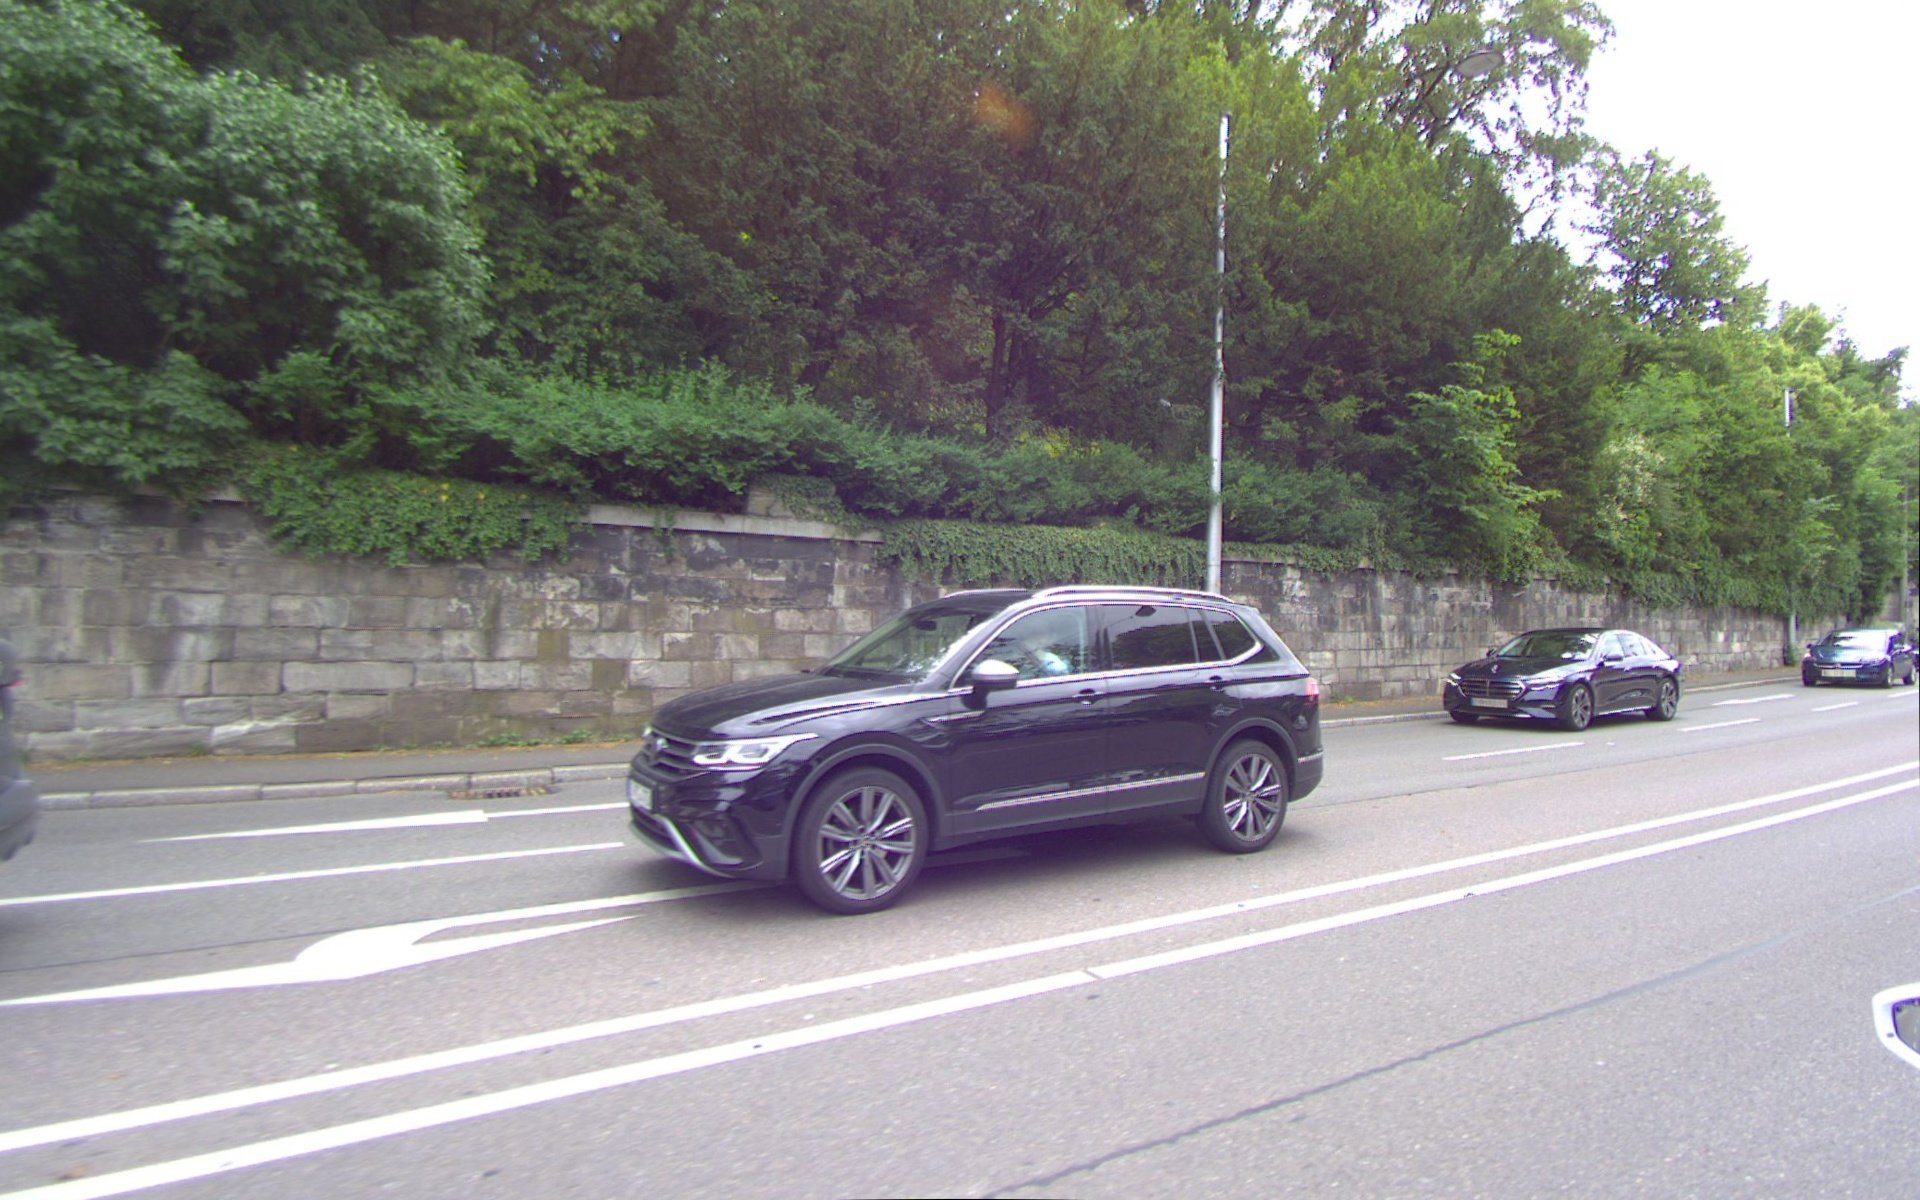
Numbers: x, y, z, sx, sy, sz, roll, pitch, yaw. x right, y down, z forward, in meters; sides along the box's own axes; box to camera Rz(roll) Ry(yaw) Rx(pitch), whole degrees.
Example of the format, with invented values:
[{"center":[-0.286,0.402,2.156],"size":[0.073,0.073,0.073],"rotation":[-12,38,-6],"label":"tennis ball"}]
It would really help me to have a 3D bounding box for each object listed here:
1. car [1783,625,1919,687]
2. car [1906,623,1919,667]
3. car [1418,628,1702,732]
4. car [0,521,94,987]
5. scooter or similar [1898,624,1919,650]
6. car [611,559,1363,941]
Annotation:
[{"center":[22.924,1.387,25.731],"size":[3.960,1.455,1.831],"rotation":[1,-2,-35],"label":"car"},{"center":[33.457,1.496,33.603],"size":[4.412,1.428,1.831],"rotation":[1,-2,-36],"label":"car"},{"center":[9.586,1.190,15.948],"size":[4.703,1.428,1.991],"rotation":[2,-2,-32],"label":"car"},{"center":[-5.872,0.536,2.864],"size":[4.823,1.772,1.950],"rotation":[2,-2,-31],"label":"car"},{"center":[48.147,1.879,50.693],"size":[1.076,1.254,0.434],"rotation":[4,3,3],"label":"scooter or similar"},{"center":[0.340,0.747,6.429],"size":[4.573,1.673,1.838],"rotation":[2,-3,-32],"label":"car"}]
